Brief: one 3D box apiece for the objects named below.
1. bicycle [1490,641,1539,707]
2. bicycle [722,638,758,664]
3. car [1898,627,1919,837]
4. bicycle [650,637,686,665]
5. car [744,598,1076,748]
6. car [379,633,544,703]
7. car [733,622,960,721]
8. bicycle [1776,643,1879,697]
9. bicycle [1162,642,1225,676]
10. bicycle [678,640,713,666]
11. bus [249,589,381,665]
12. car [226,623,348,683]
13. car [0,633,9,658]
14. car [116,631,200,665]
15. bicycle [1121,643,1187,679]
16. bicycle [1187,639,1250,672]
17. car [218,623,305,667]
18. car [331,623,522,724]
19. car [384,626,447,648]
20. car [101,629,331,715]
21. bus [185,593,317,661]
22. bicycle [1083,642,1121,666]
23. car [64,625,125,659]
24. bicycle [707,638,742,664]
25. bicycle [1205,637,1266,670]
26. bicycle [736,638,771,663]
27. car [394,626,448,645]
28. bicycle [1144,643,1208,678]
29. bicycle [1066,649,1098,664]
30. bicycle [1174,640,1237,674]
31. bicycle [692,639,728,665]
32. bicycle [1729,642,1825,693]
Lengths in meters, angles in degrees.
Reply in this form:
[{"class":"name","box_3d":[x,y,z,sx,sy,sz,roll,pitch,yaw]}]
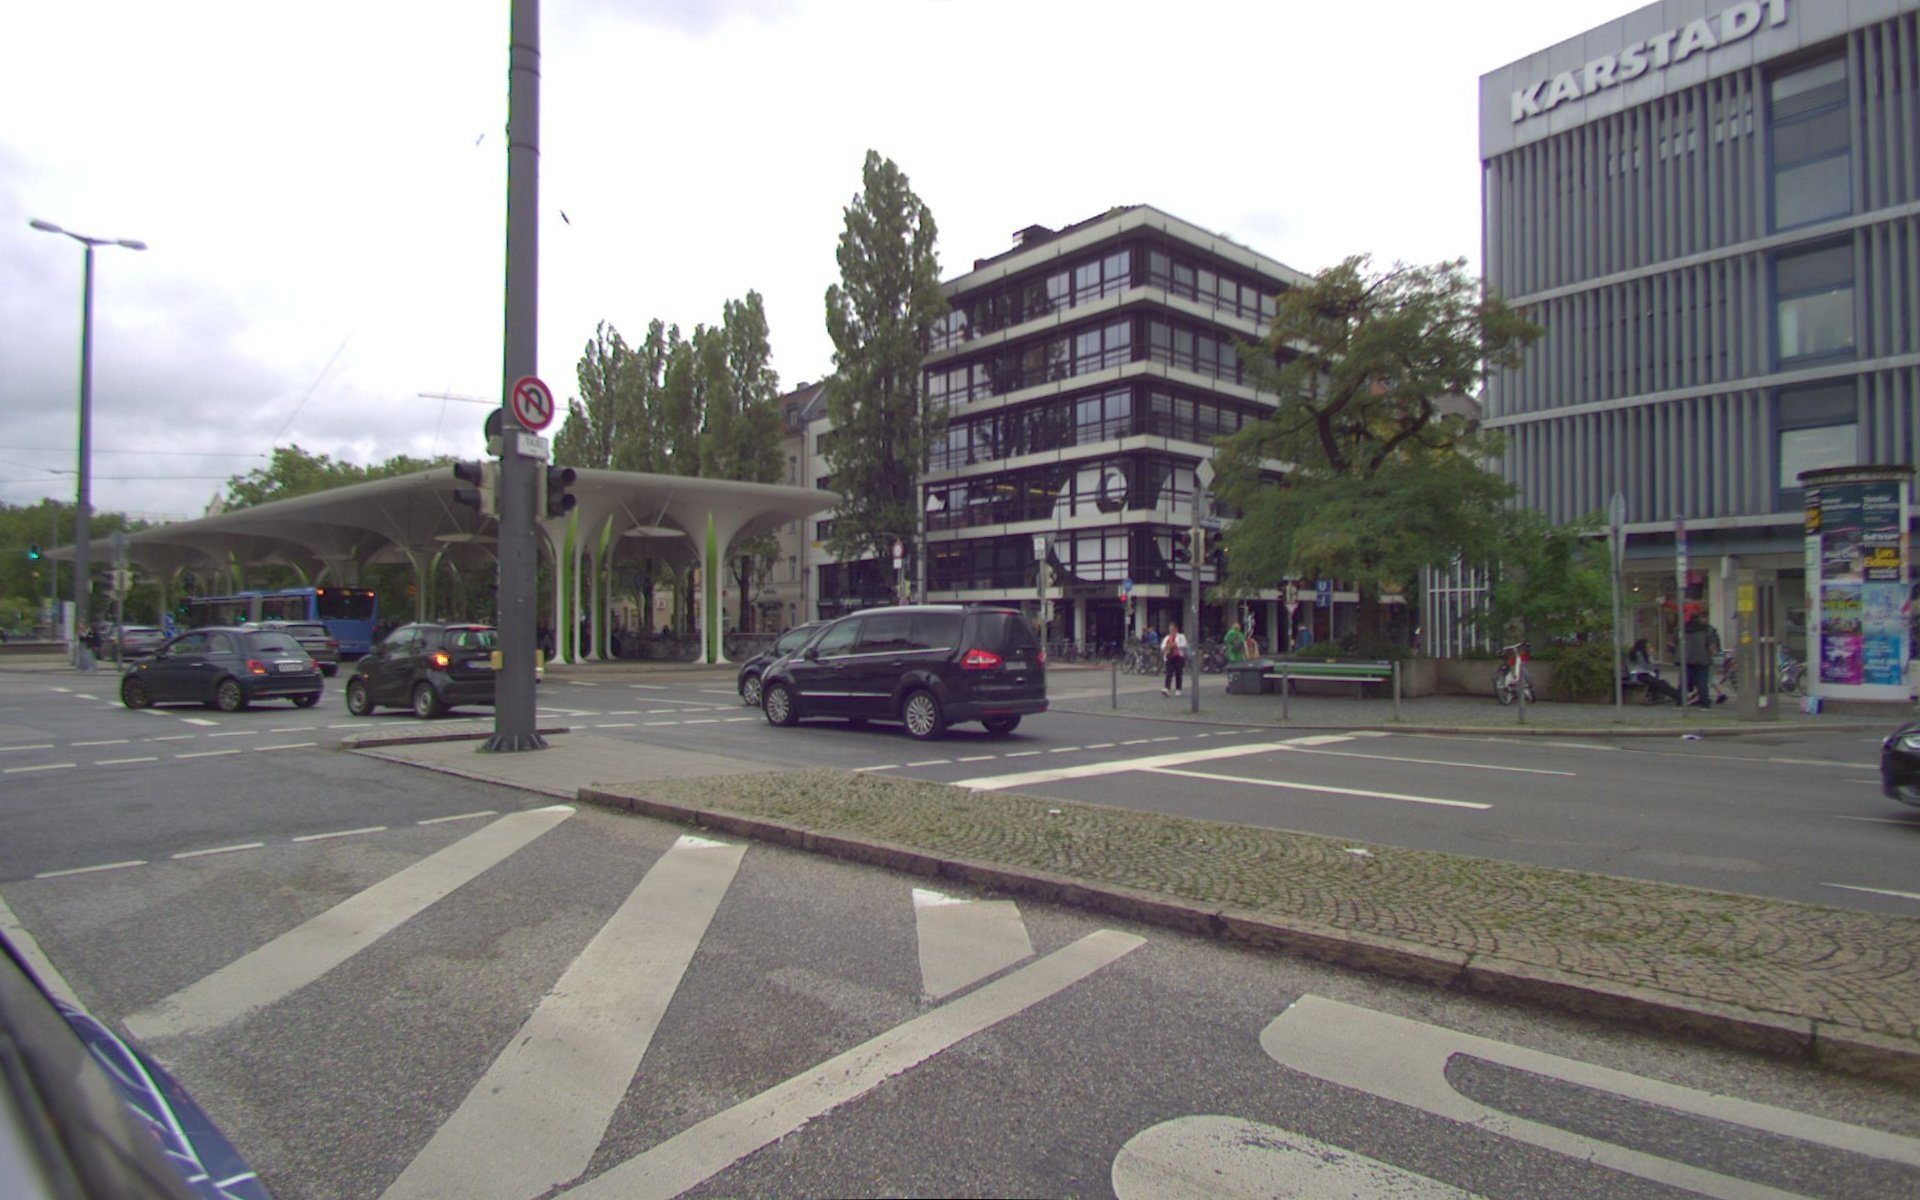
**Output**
[{"class":"bicycle","box_3d":[10.194,1.337,18.580,0.373,1.120,1.556,-2,-2,44]},{"class":"bicycle","box_3d":[-9.974,2.302,45.827,0.645,1.127,2.186,1,-2,-40]},{"class":"car","box_3d":[8.724,0.853,5.959,4.598,1.393,1.825,-2,-2,41]},{"class":"bicycle","box_3d":[-12.592,2.190,43.576,0.633,1.133,2.169,1,-2,-40]},{"class":"car","box_3d":[-0.815,0.947,14.113,4.586,1.752,1.916,-2,-4,41]},{"class":"car","box_3d":[-11.512,1.489,23.229,4.637,1.432,1.747,-2,-2,41]},{"class":"car","box_3d":[-2.206,1.245,18.874,4.255,1.626,1.820,-2,-2,41]},{"class":"bicycle","box_3d":[19.649,1.540,22.883,3.621,1.108,0.807,1,-2,-34]},{"class":"bicycle","box_3d":[7.529,1.888,32.686,1.985,1.005,0.521,1,0,41]},{"class":"bicycle","box_3d":[-11.648,2.320,44.513,0.645,1.127,2.186,1,-2,-40]},{"class":"bus","box_3d":[-28.040,1.213,43.868,7.507,3.031,2.633,-2,-4,40]},{"class":"car","box_3d":[-20.379,1.564,30.583,4.727,1.683,1.726,-2,-2,39]},{"class":"car","box_3d":[-61.569,2.877,63.793,4.276,1.520,1.648,-3,-6,39]},{"class":"car","box_3d":[-35.204,2.077,44.391,4.162,1.422,1.974,-2,-2,38]},{"class":"bicycle","box_3d":[5.963,1.863,31.174,1.985,1.005,0.521,1,0,41]},{"class":"bicycle","box_3d":[8.642,1.850,33.887,1.985,1.005,0.521,1,0,41]},{"class":"car","box_3d":[-26.621,1.686,38.508,3.996,1.608,1.681,-2,-2,39]},{"class":"car","box_3d":[-8.892,1.174,16.877,2.824,1.546,1.493,-1,-3,29]},{"class":"car","box_3d":[-49.995,3.366,93.001,4.853,1.962,1.874,1,-2,-40]},{"class":"car","box_3d":[-13.536,1.288,18.449,3.508,1.457,1.542,-1,-3,16]},{"class":"bus","box_3d":[-34.937,1.394,49.665,10.507,3.031,2.633,-2,-4,40]},{"class":"bicycle","box_3d":[6.373,2.427,45.504,1.611,1.082,0.429,0,-2,-1]},{"class":"car","box_3d":[-44.790,2.136,52.354,3.997,1.674,1.764,-2,-2,41]},{"class":"bicycle","box_3d":[-10.555,2.285,45.352,0.645,1.127,2.186,1,-2,-40]},{"class":"bicycle","box_3d":[9.441,1.822,34.754,1.985,1.005,0.521,1,0,41]},{"class":"bicycle","box_3d":[-9.452,2.285,46.238,0.645,1.127,2.186,1,-2,-40]},{"class":"car","box_3d":[-48.070,3.119,90.362,3.938,1.628,1.833,1,-2,-42]},{"class":"bicycle","box_3d":[6.807,1.901,31.965,1.985,1.005,0.521,1,0,41]},{"class":"bicycle","box_3d":[5.677,2.623,46.916,1.607,0.637,0.430,1,-2,-35]},{"class":"bicycle","box_3d":[8.049,1.870,33.262,1.985,1.005,0.521,1,0,41]},{"class":"bicycle","box_3d":[-11.114,2.303,44.925,0.645,1.127,2.186,1,-2,-40]},{"class":"bicycle","box_3d":[19.276,1.552,23.835,3.383,1.108,0.789,1,-2,-34]}]
